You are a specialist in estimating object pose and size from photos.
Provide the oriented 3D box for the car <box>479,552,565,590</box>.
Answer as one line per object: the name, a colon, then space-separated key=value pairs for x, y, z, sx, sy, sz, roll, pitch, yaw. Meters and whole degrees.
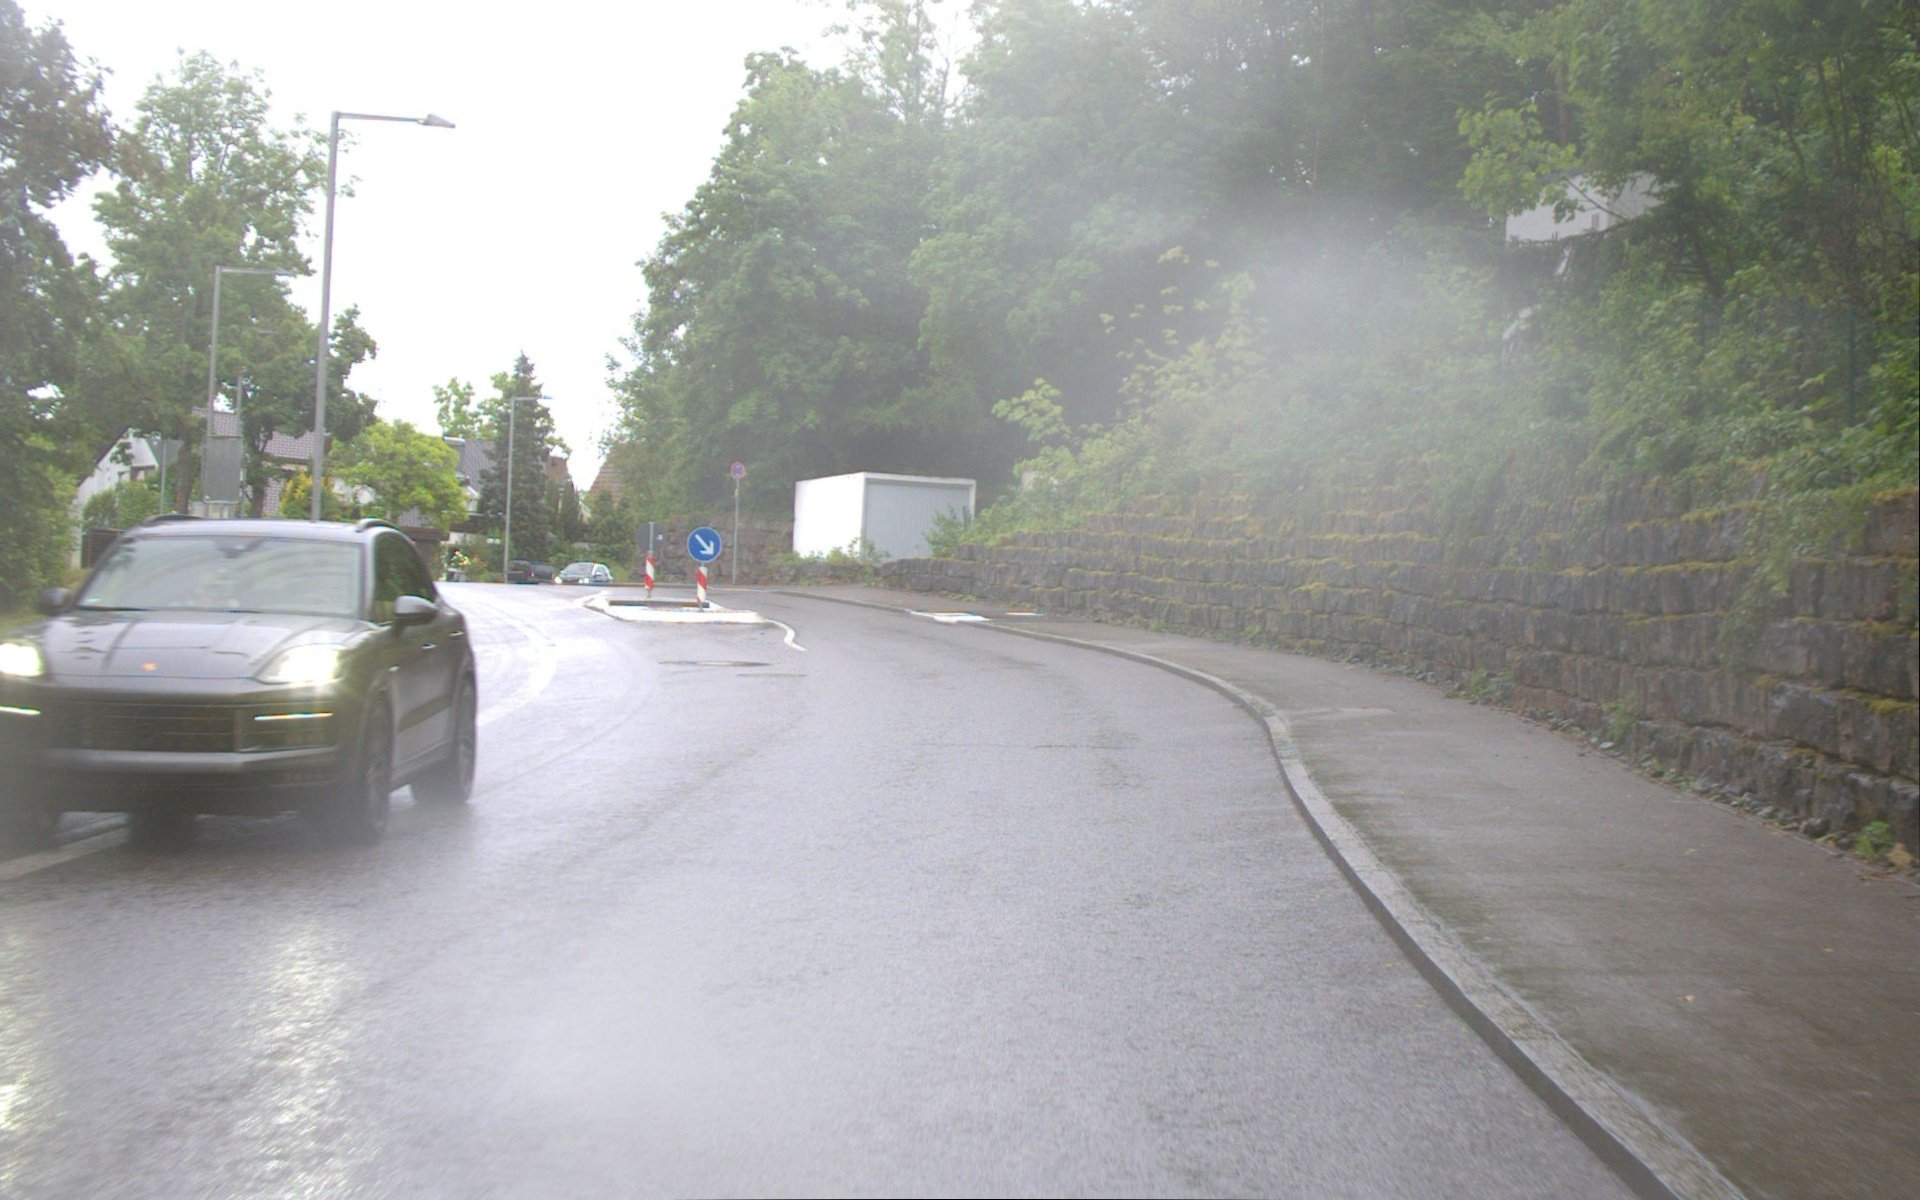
car: x=-19.214 y=-1.269 z=150.747 sx=1.934 sy=1.384 sz=3.999 roll=6 pitch=-2 yaw=-36

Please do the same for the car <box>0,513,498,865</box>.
car: x=-3.834 y=0.409 z=18.677 sx=1.918 sy=1.642 sz=4.546 roll=1 pitch=0 yaw=1
